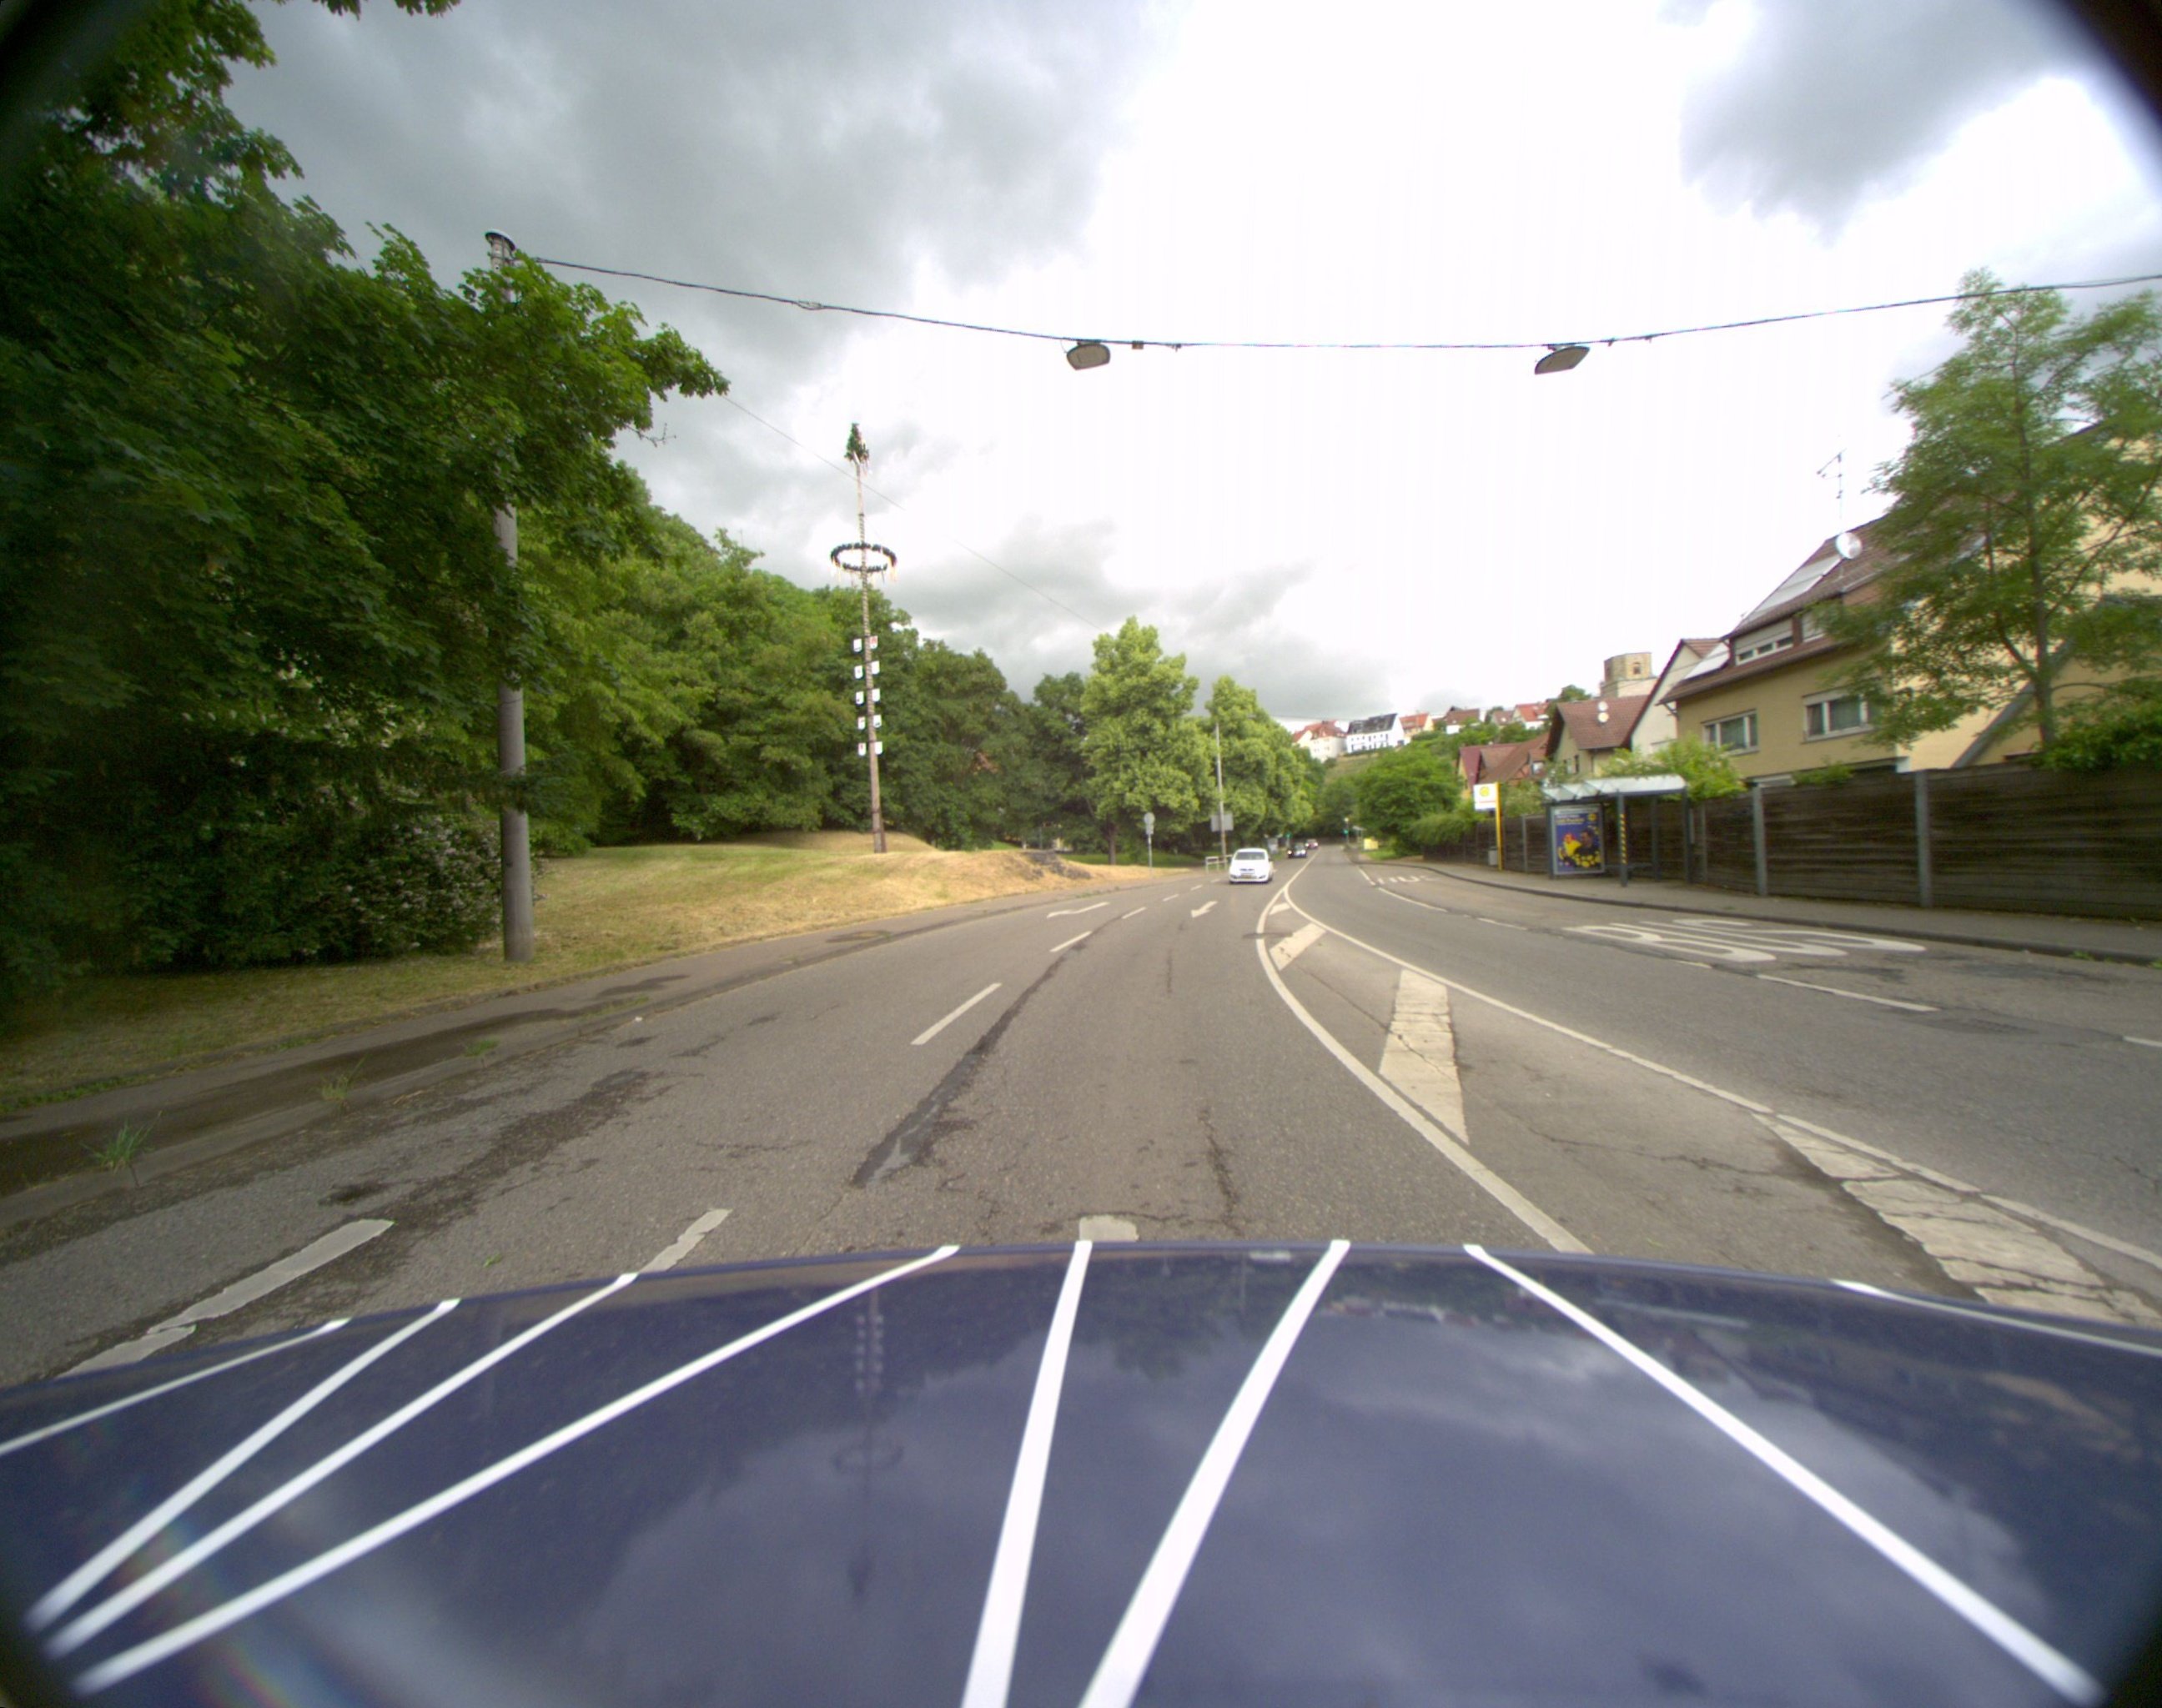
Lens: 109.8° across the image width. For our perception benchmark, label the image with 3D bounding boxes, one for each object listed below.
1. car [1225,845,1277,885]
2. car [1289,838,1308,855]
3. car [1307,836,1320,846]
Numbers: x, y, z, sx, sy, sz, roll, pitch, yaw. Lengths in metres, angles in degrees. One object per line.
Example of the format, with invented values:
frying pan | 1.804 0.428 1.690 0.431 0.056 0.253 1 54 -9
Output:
car | 7.413 0.437 32.923 1.761 1.516 3.687 -2 1 18
car | 22.032 -0.796 76.994 1.761 1.575 3.687 -2 1 17
car | 38.980 -2.256 127.150 1.761 1.575 3.688 -2 1 21
